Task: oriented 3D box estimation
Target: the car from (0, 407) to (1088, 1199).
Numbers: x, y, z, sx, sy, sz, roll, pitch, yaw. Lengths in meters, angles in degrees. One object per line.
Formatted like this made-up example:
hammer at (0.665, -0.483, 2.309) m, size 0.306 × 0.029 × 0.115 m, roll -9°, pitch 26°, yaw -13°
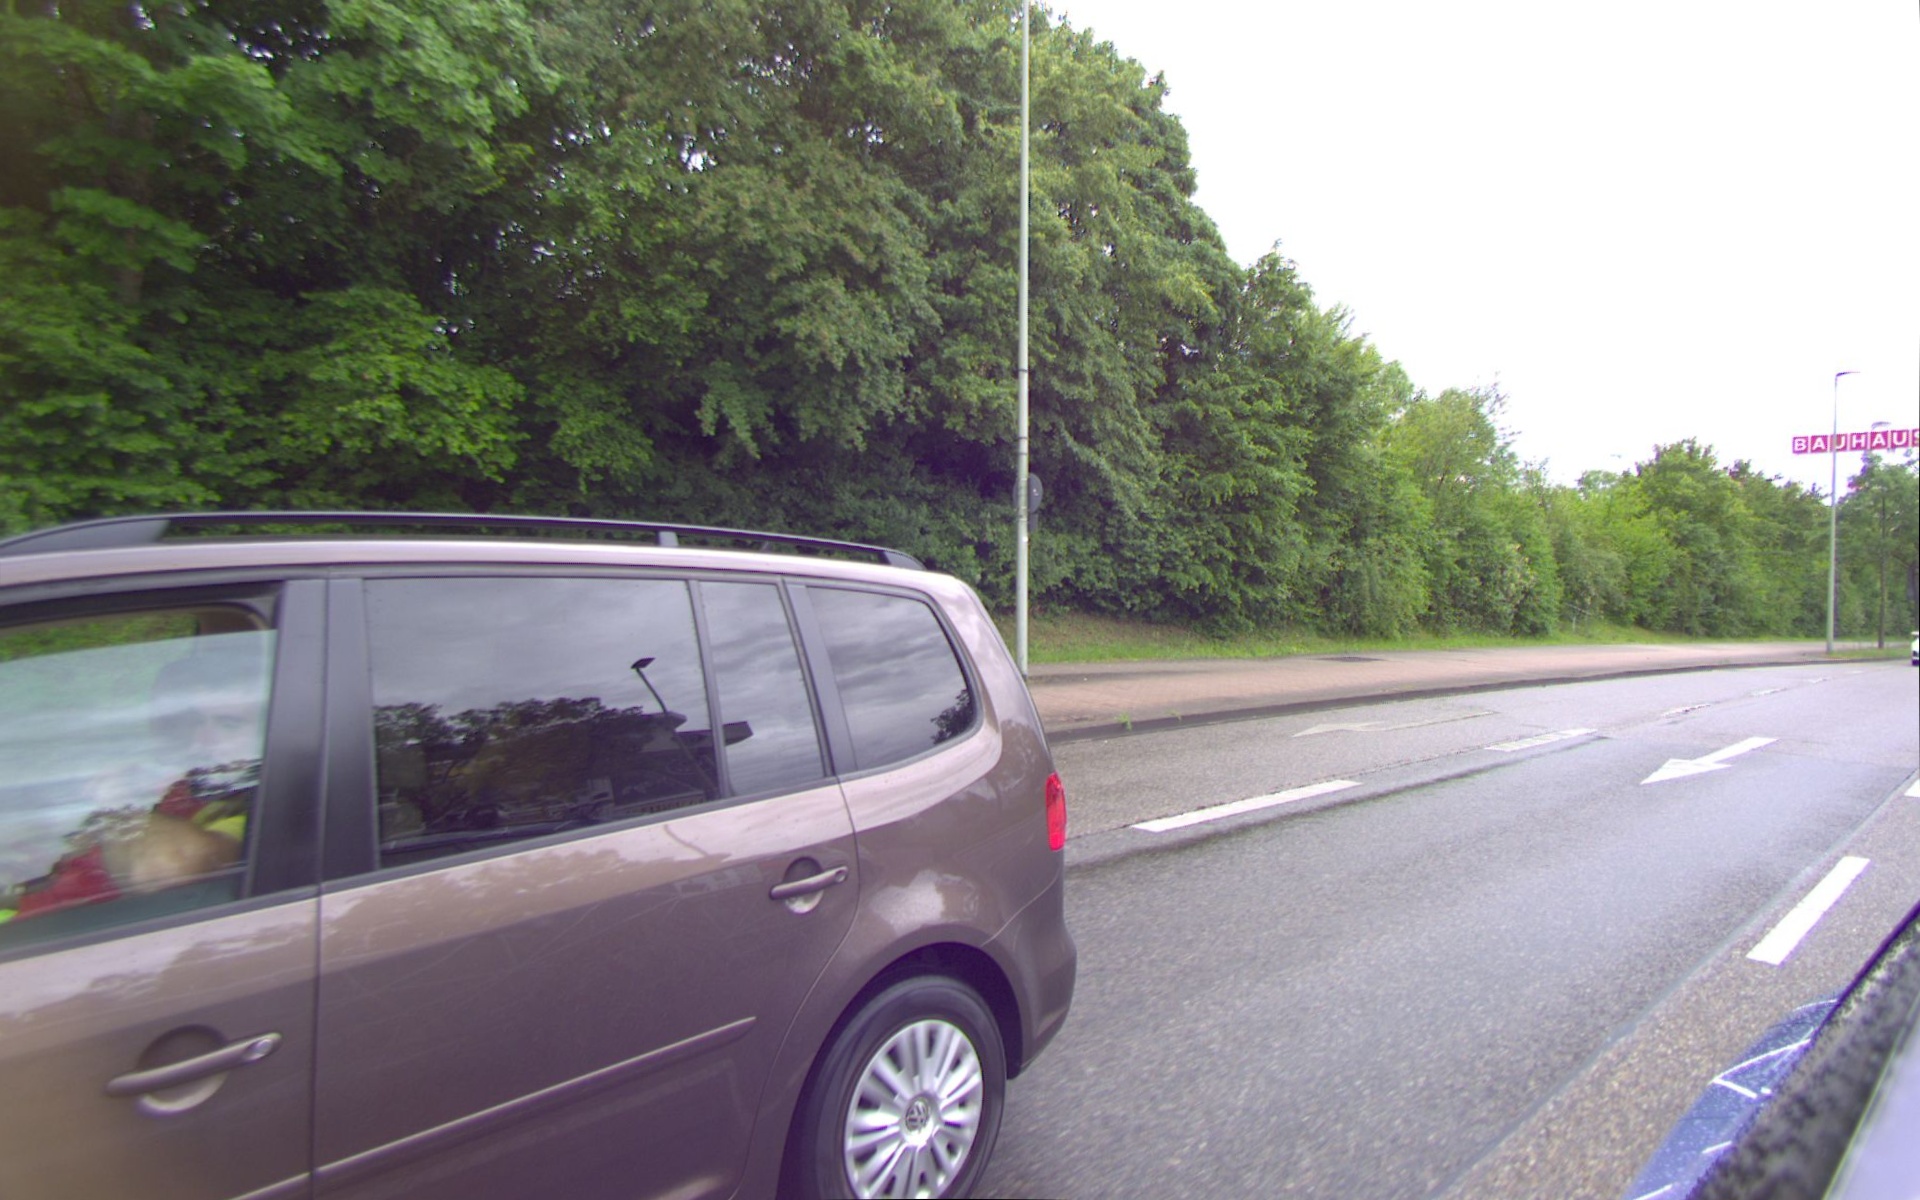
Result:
car at (-1.740, 0.556, 1.907) m, size 4.060 × 1.617 × 1.716 m, roll 1°, pitch 0°, yaw -43°
